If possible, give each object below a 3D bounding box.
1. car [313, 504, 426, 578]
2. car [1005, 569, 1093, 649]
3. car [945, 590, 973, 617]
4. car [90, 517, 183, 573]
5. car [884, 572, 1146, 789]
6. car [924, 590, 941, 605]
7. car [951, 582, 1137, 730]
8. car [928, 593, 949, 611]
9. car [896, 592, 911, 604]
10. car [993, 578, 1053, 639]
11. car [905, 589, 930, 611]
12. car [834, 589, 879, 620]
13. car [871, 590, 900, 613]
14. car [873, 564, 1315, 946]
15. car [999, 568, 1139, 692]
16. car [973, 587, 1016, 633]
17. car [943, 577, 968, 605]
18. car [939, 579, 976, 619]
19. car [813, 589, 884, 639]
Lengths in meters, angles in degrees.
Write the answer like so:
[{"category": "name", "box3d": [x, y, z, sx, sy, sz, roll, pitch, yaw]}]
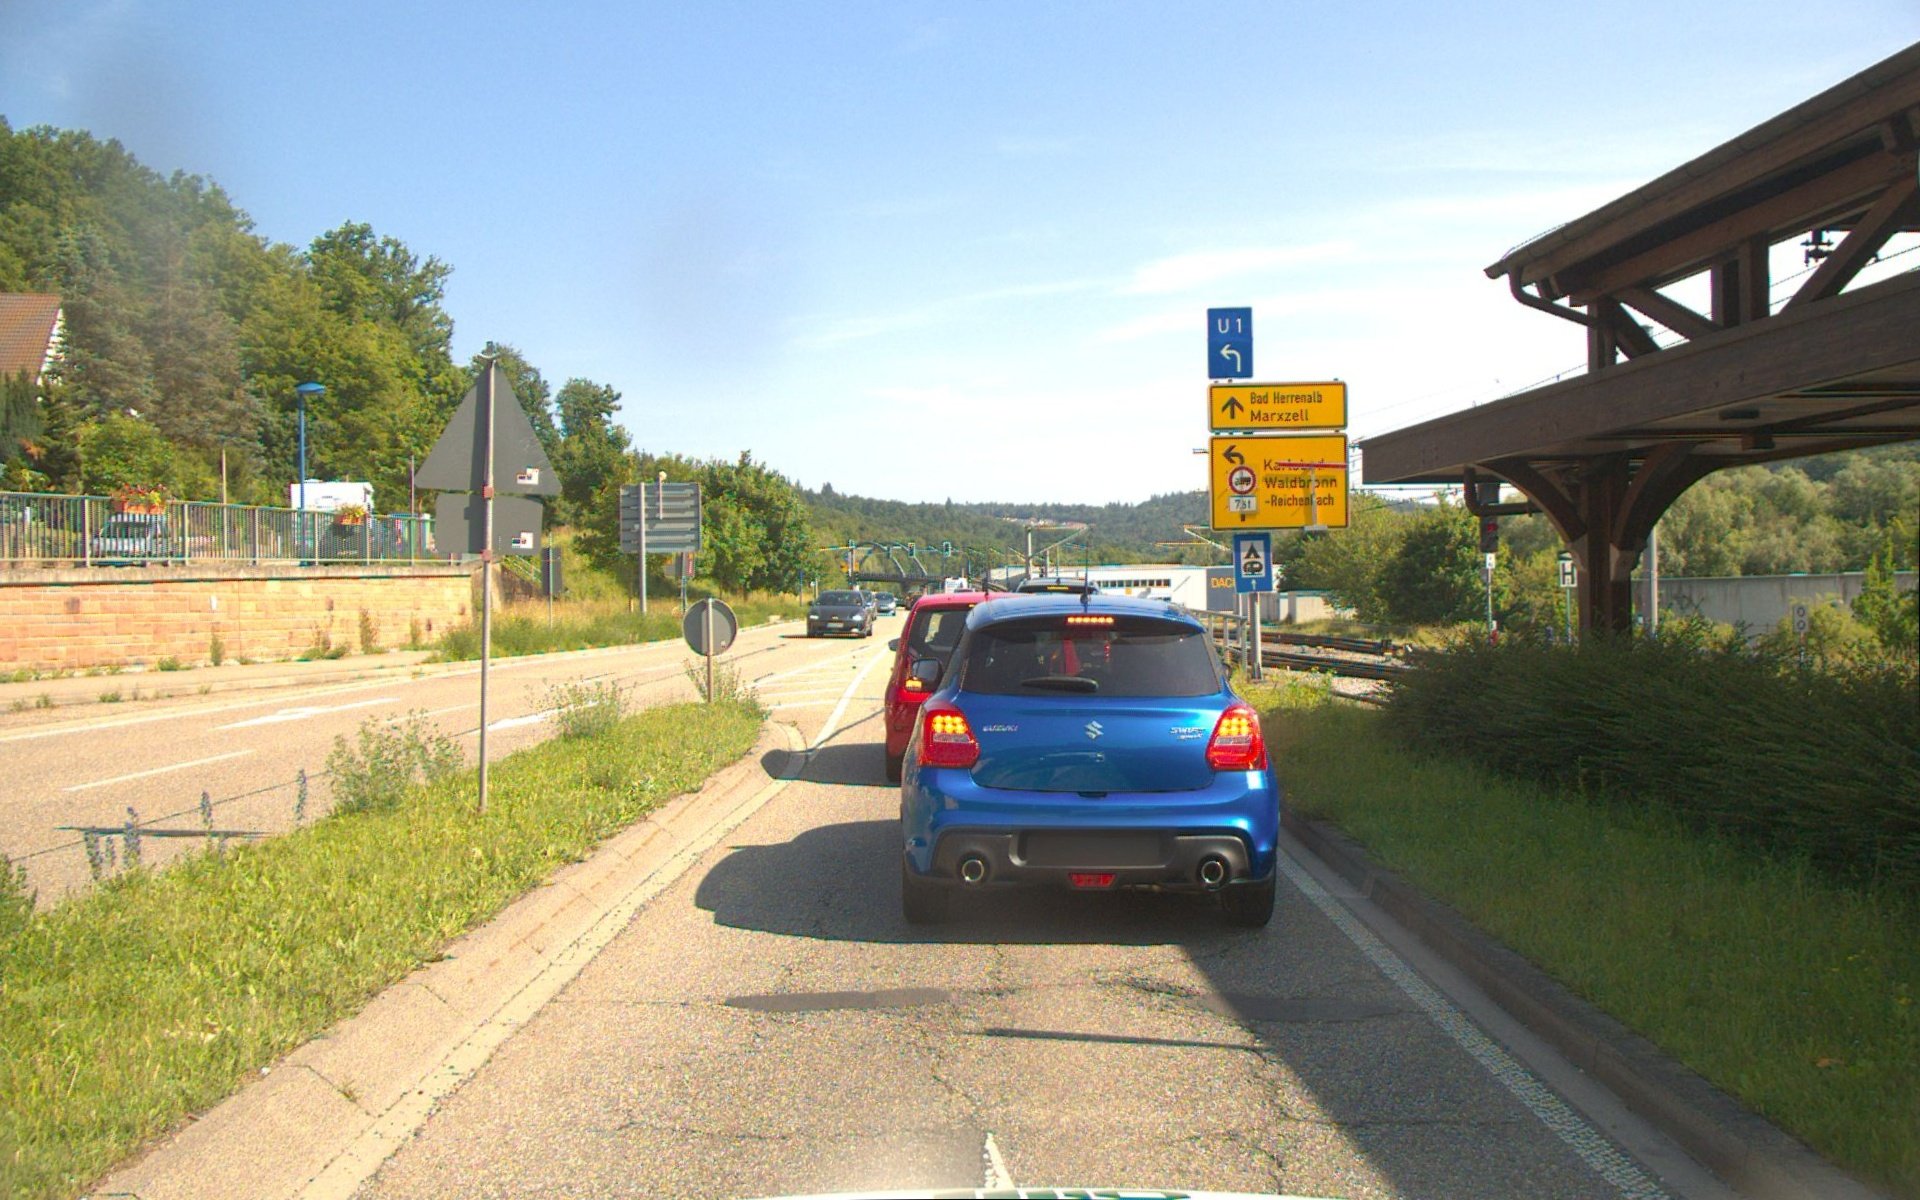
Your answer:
[{"category": "car", "box3d": [-16.873, -1.682, 47.506, 1.982, 1.953, 4.725, 2, 1, -7]}, {"category": "car", "box3d": [2.097, 0.189, 39.789, 1.952, 1.766, 4.001, 2, 1, 1]}, {"category": "car", "box3d": [-0.070, 0.218, 122.851, 1.953, 1.848, 4.000, 2, 1, 0]}, {"category": "car", "box3d": [-25.546, -1.672, 51.431, 1.864, 1.658, 3.983, 0, 0, -16]}, {"category": "car", "box3d": [0.468, 0.607, 14.540, 1.952, 1.598, 4.001, 1, 0, 1]}, {"category": "car", "box3d": [-3.085, -0.291, 186.101, 1.953, 1.619, 3.999, 1, 0, -1]}, {"category": "car", "box3d": [0.950, 0.572, 19.809, 1.952, 1.558, 4.603, -1, 0, 1]}, {"category": "car", "box3d": [-2.039, 0.192, 157.461, 1.953, 1.581, 4.215, 1, 0, 0]}, {"category": "car", "box3d": [-8.143, -0.290, 238.947, 1.953, 1.693, 3.999, 1, 0, -1]}, {"category": "car", "box3d": [2.262, 0.284, 60.264, 1.953, 2.048, 4.000, 2, 1, 0]}, {"category": "car", "box3d": [-3.625, 0.020, 142.036, 1.953, 1.814, 4.000, 1, 0, 0]}, {"category": "car", "box3d": [-5.384, 0.214, 86.712, 1.952, 1.591, 4.510, 0, 0, 2]}, {"category": "car", "box3d": [-4.895, 0.099, 109.227, 1.637, 1.466, 3.841, 1, 0, 1]}, {"category": "car", "box3d": [0.534, 0.631, 8.870, 1.830, 1.575, 3.999, 0, 0, -1]}, {"category": "car", "box3d": [1.613, 0.408, 25.895, 1.952, 1.716, 4.498, 2, 1, 1]}, {"category": "car", "box3d": [1.665, 0.462, 80.267, 1.953, 2.048, 4.000, 2, 1, 0]}, {"category": "car", "box3d": [-0.376, -0.744, 137.407, 1.953, 2.181, 4.719, 1, 0, 0]}, {"category": "car", "box3d": [-0.146, -0.086, 91.849, 1.953, 2.048, 4.000, 2, 1, 0]}, {"category": "car", "box3d": [-3.518, 0.419, 52.873, 1.754, 1.496, 4.718, 0, 0, 3]}]
